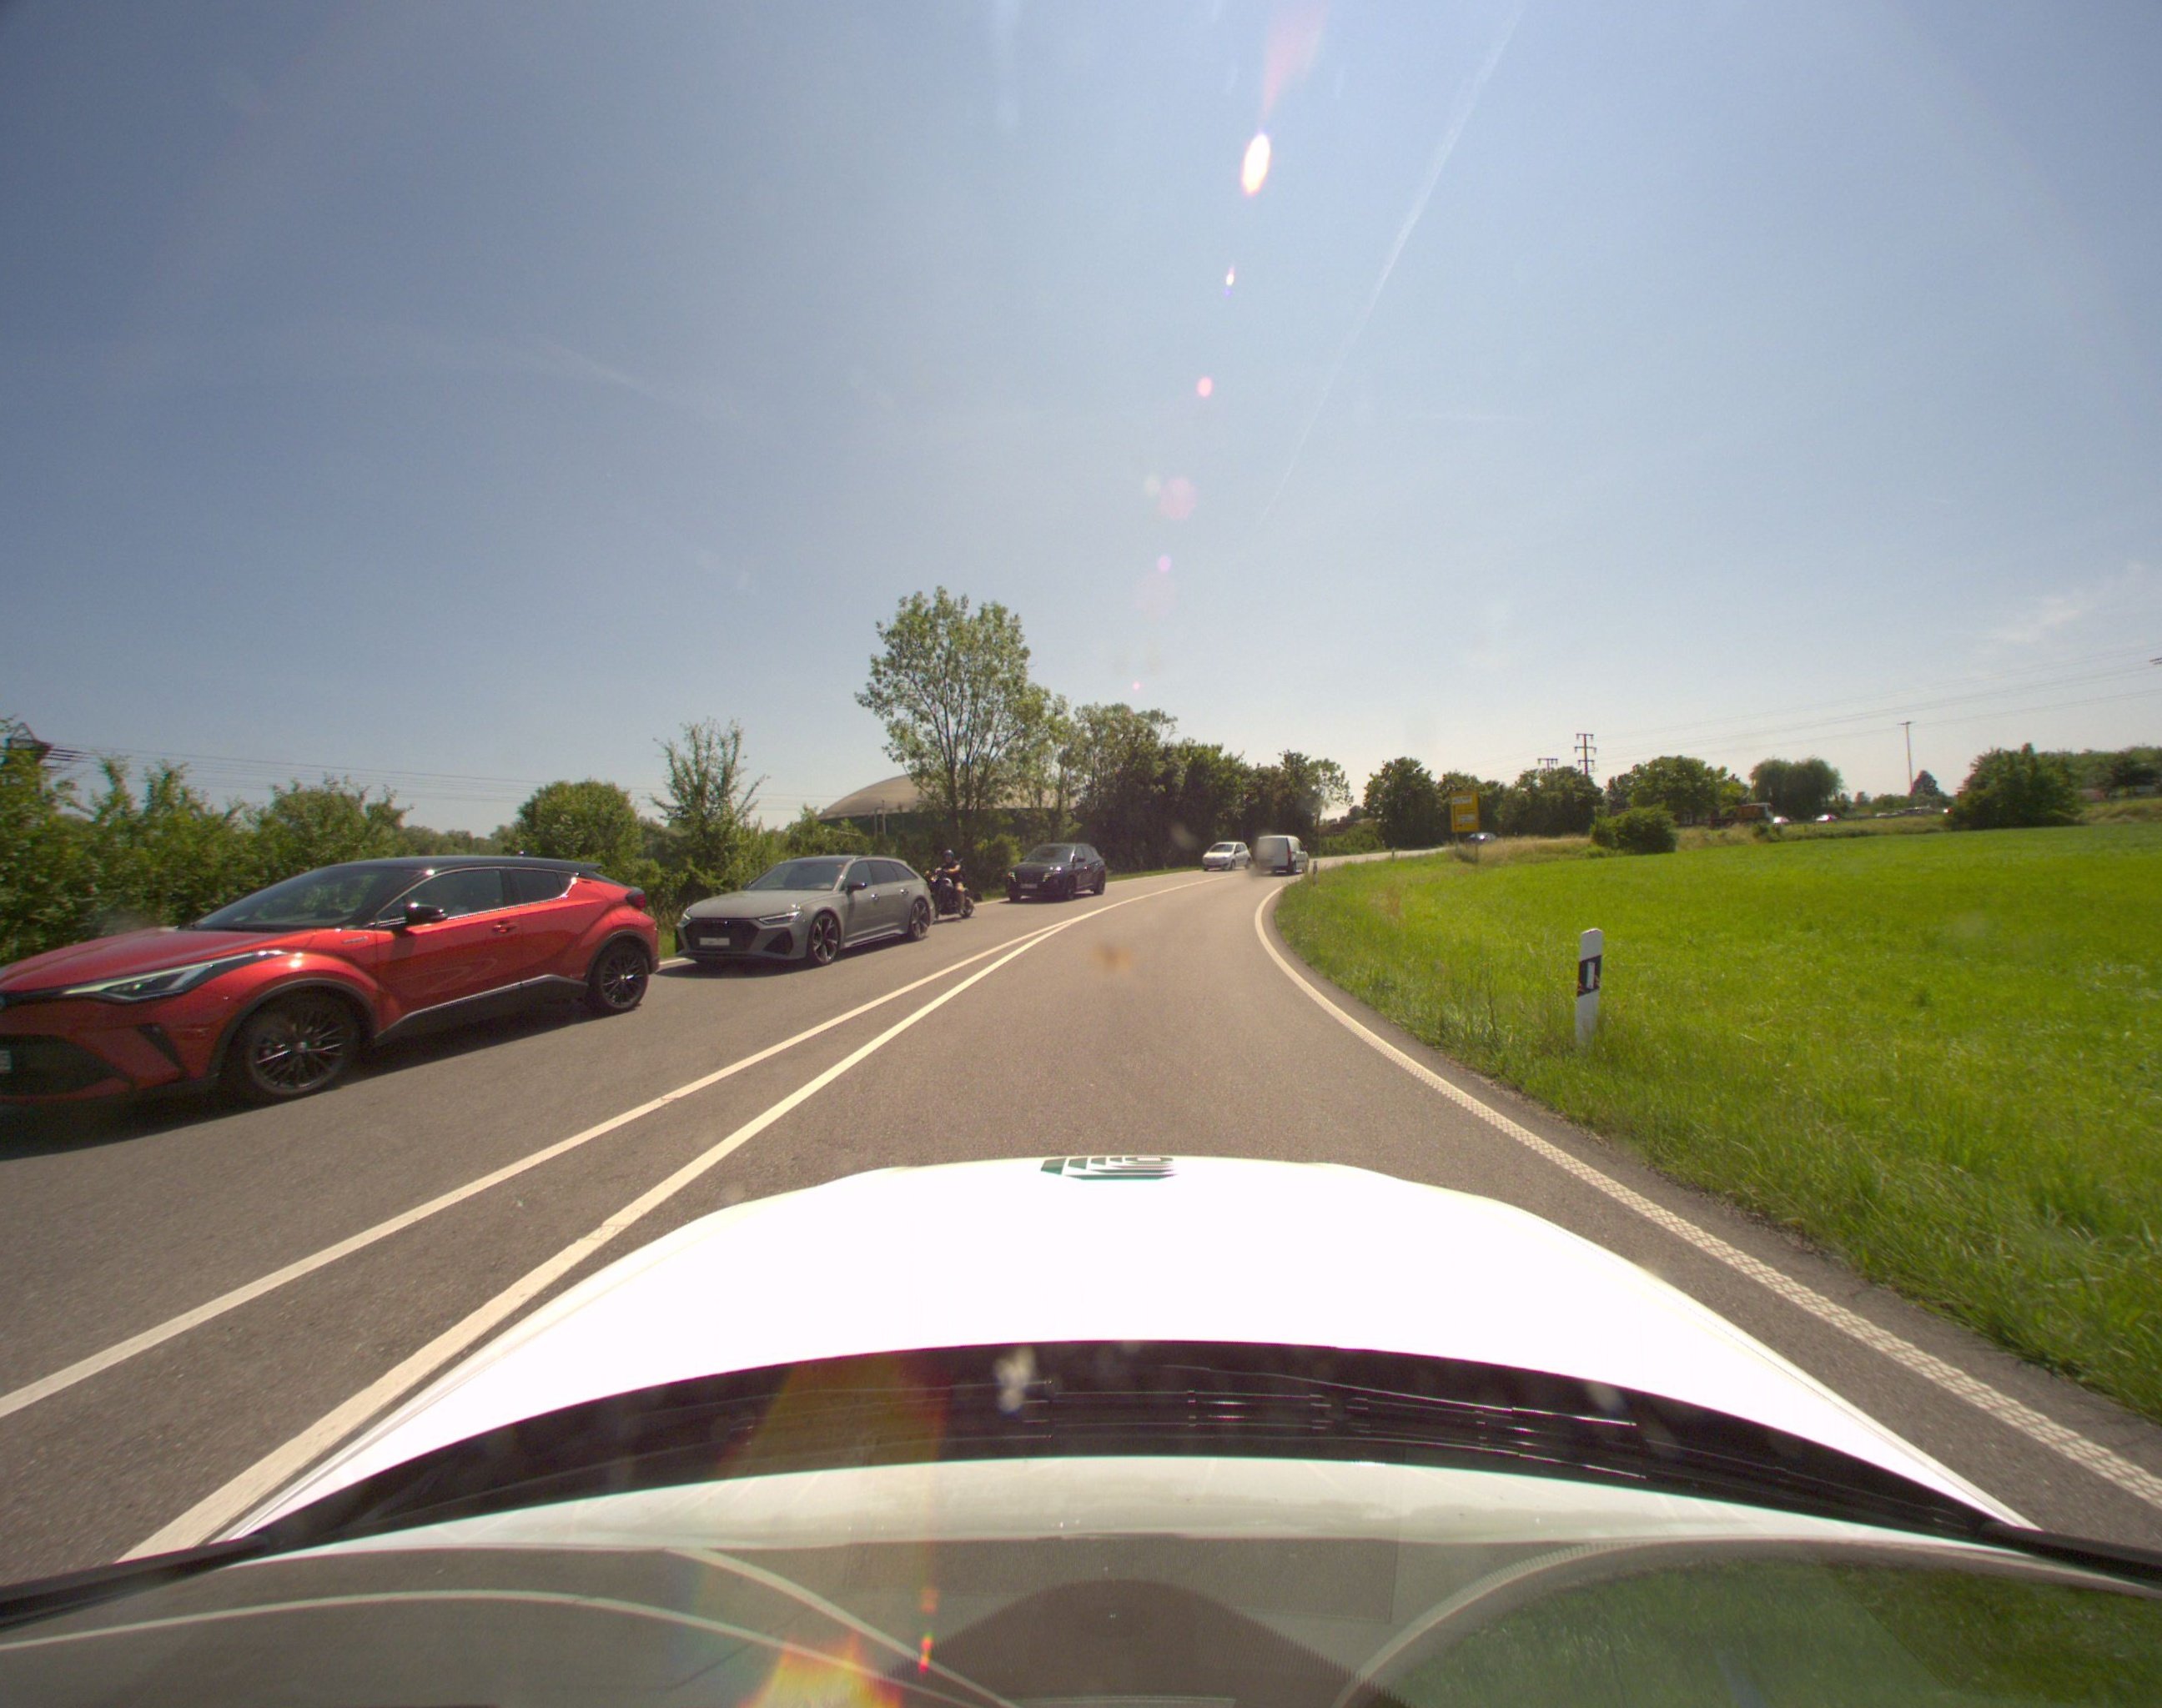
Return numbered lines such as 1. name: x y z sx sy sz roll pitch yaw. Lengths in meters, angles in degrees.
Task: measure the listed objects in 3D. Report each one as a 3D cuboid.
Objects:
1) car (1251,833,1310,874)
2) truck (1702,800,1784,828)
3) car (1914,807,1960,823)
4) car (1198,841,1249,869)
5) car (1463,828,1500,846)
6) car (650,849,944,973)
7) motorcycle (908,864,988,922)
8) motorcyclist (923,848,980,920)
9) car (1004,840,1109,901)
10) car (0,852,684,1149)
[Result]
1. car: 9.296 -0.027 37.732 1.886 1.732 3.844 -3 -1 24
2. truck: 78.107 -4.725 96.059 8.794 3.137 3.091 -1 0 -17
3. car: 117.565 -5.350 111.896 2.007 2.013 3.960 -1 0 -32
4. car: 7.549 0.026 42.885 1.522 1.442 3.630 0 1 30
5. car: 34.628 -1.453 70.414 1.703 1.420 3.768 -3 -1 44
6. car: -3.964 0.711 12.460 1.828 1.460 4.828 -2 0 14
7. motorcycle: -2.831 0.812 17.649 0.776 1.123 2.439 -1 0 14
8. motorcyclist: -2.807 0.626 17.732 0.775 1.495 1.135 -2 0 14
9. car: -0.615 0.411 24.256 1.688 1.638 4.270 -1 1 19
10. car: -5.545 0.766 6.531 1.786 1.515 4.409 -1 0 14
